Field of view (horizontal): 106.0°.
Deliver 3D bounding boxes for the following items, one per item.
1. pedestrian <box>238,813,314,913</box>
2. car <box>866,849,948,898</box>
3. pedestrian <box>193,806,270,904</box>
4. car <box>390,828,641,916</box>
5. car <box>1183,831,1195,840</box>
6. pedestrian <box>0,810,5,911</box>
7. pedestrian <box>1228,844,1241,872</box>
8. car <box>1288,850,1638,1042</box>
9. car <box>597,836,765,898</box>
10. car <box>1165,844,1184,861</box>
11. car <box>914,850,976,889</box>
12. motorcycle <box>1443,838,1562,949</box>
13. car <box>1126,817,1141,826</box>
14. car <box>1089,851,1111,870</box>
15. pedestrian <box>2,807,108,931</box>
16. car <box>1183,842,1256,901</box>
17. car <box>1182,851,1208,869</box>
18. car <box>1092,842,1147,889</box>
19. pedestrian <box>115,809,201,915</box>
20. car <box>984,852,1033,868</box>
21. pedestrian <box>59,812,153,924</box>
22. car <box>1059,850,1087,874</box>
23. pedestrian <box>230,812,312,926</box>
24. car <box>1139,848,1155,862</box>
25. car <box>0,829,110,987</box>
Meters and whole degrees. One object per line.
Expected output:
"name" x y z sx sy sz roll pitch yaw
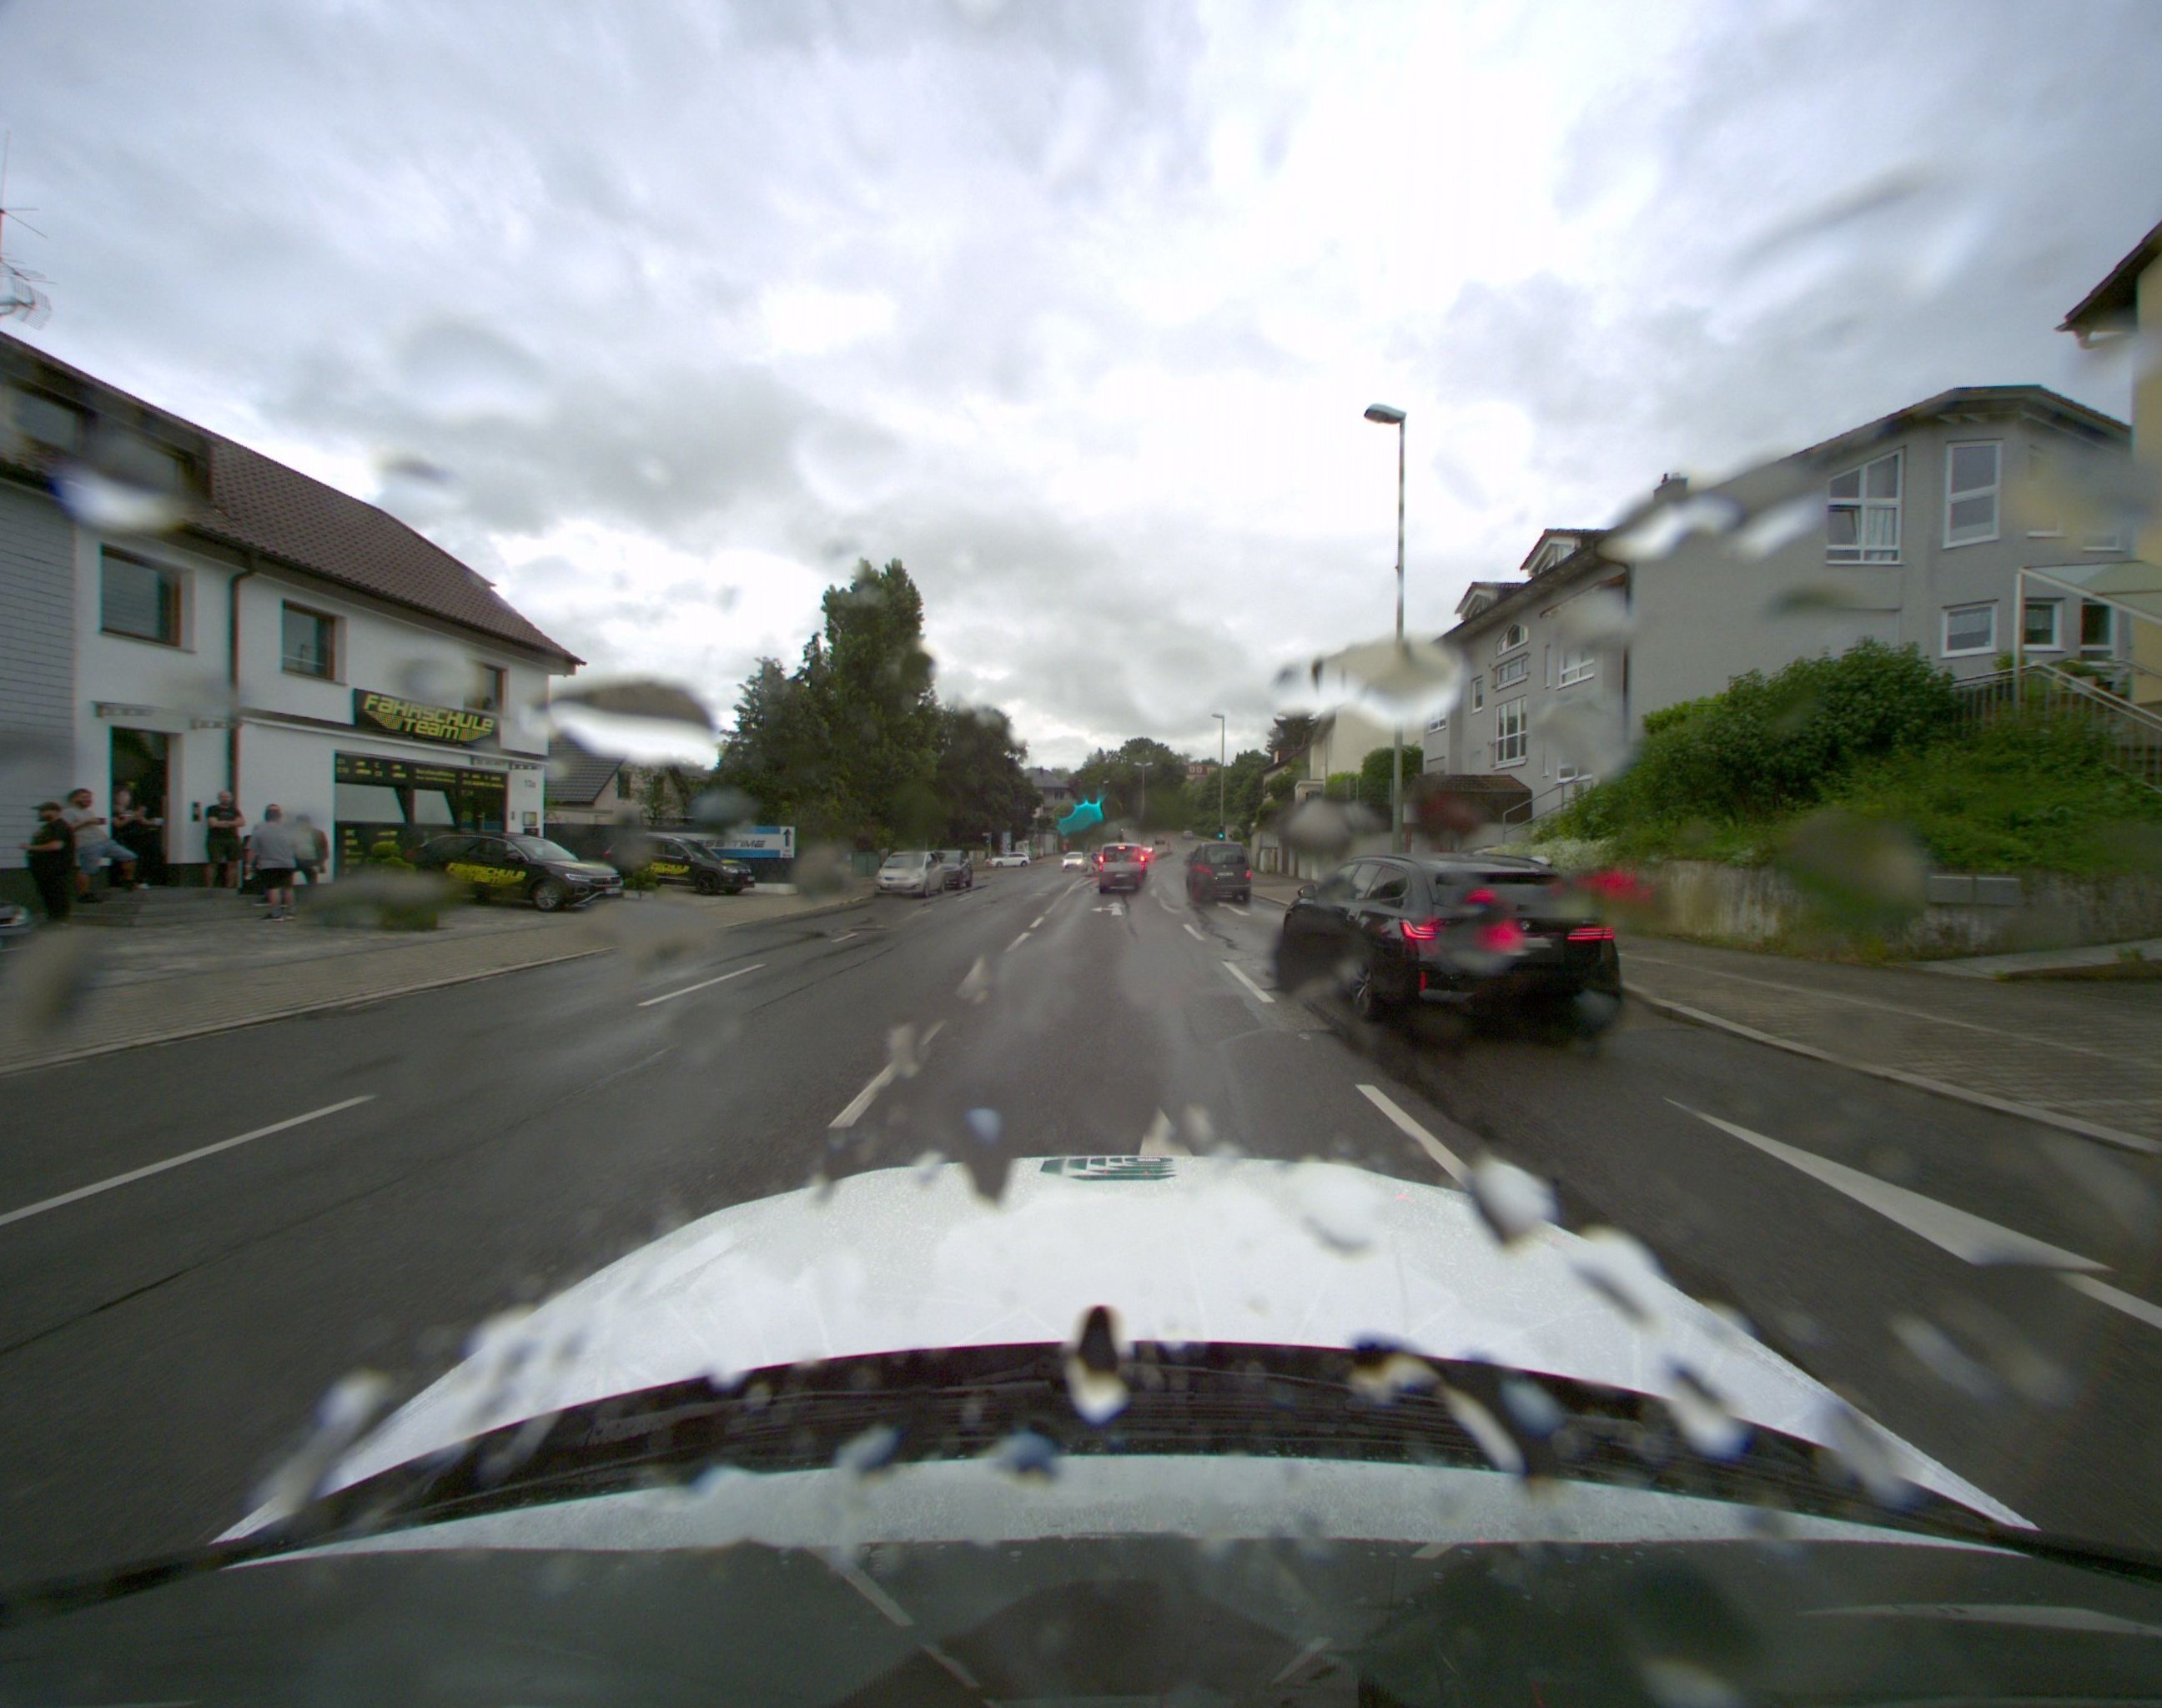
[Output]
"pedestrian" -14.057 0.149 14.229 0.597 1.665 0.651 3 0 10
"car" -6.056 0.639 28.817 1.877 1.585 4.002 0 0 2
"pedestrian" -15.049 0.017 14.443 0.597 1.665 0.651 3 0 6
"car" -12.155 0.367 17.710 4.058 1.516 1.856 4 0 1
"car" 20.172 -3.461 152.329 1.986 1.585 4.002 0 0 2
"pedestrian" -15.230 0.217 10.950 0.597 1.665 0.651 3 0 6
"pedestrian" 11.024 0.275 58.462 0.868 2.013 0.880 -1 0 9
"car" 3.492 0.716 8.387 1.984 1.484 4.005 0 0 4
"car" -12.017 0.373 24.646 4.058 1.516 1.856 4 0 1
"car" 12.993 -0.242 113.383 2.508 2.013 5.620 1 3 7
"car" -5.814 0.639 35.309 1.877 1.585 4.002 0 0 2
"motorcycle" 6.343 0.550 12.407 0.700 1.509 2.151 -2 0 2
"car" 12.430 -7.785 192.156 2.520 2.013 5.595 0 3 -8
"car" 1.844 0.611 78.231 1.986 1.772 4.002 0 0 2
"pedestrian" -14.397 0.207 11.445 0.597 1.665 0.651 3 0 6
"car" 4.410 0.522 26.436 1.831 1.767 4.002 0 0 2
"car" 10.308 0.559 73.797 1.986 1.578 4.002 0 0 2
"car" 1.496 0.420 31.726 1.986 1.737 4.002 0 0 2
"pedestrian" -15.209 0.127 13.432 0.597 1.665 0.651 3 0 6
"car" -6.956 0.561 78.720 4.419 1.547 1.976 0 0 -41
"pedestrian" -15.143 0.217 12.659 0.597 1.665 0.651 3 0 6
"car" -0.583 0.602 62.861 1.986 1.772 4.002 0 0 2
"pedestrian" -13.227 0.230 13.322 0.599 1.790 0.649 3 0 -4
"car" 8.550 0.145 105.631 1.986 1.772 4.002 -1 0 2
"car" -12.384 0.470 7.739 4.058 1.516 1.856 1 0 1
